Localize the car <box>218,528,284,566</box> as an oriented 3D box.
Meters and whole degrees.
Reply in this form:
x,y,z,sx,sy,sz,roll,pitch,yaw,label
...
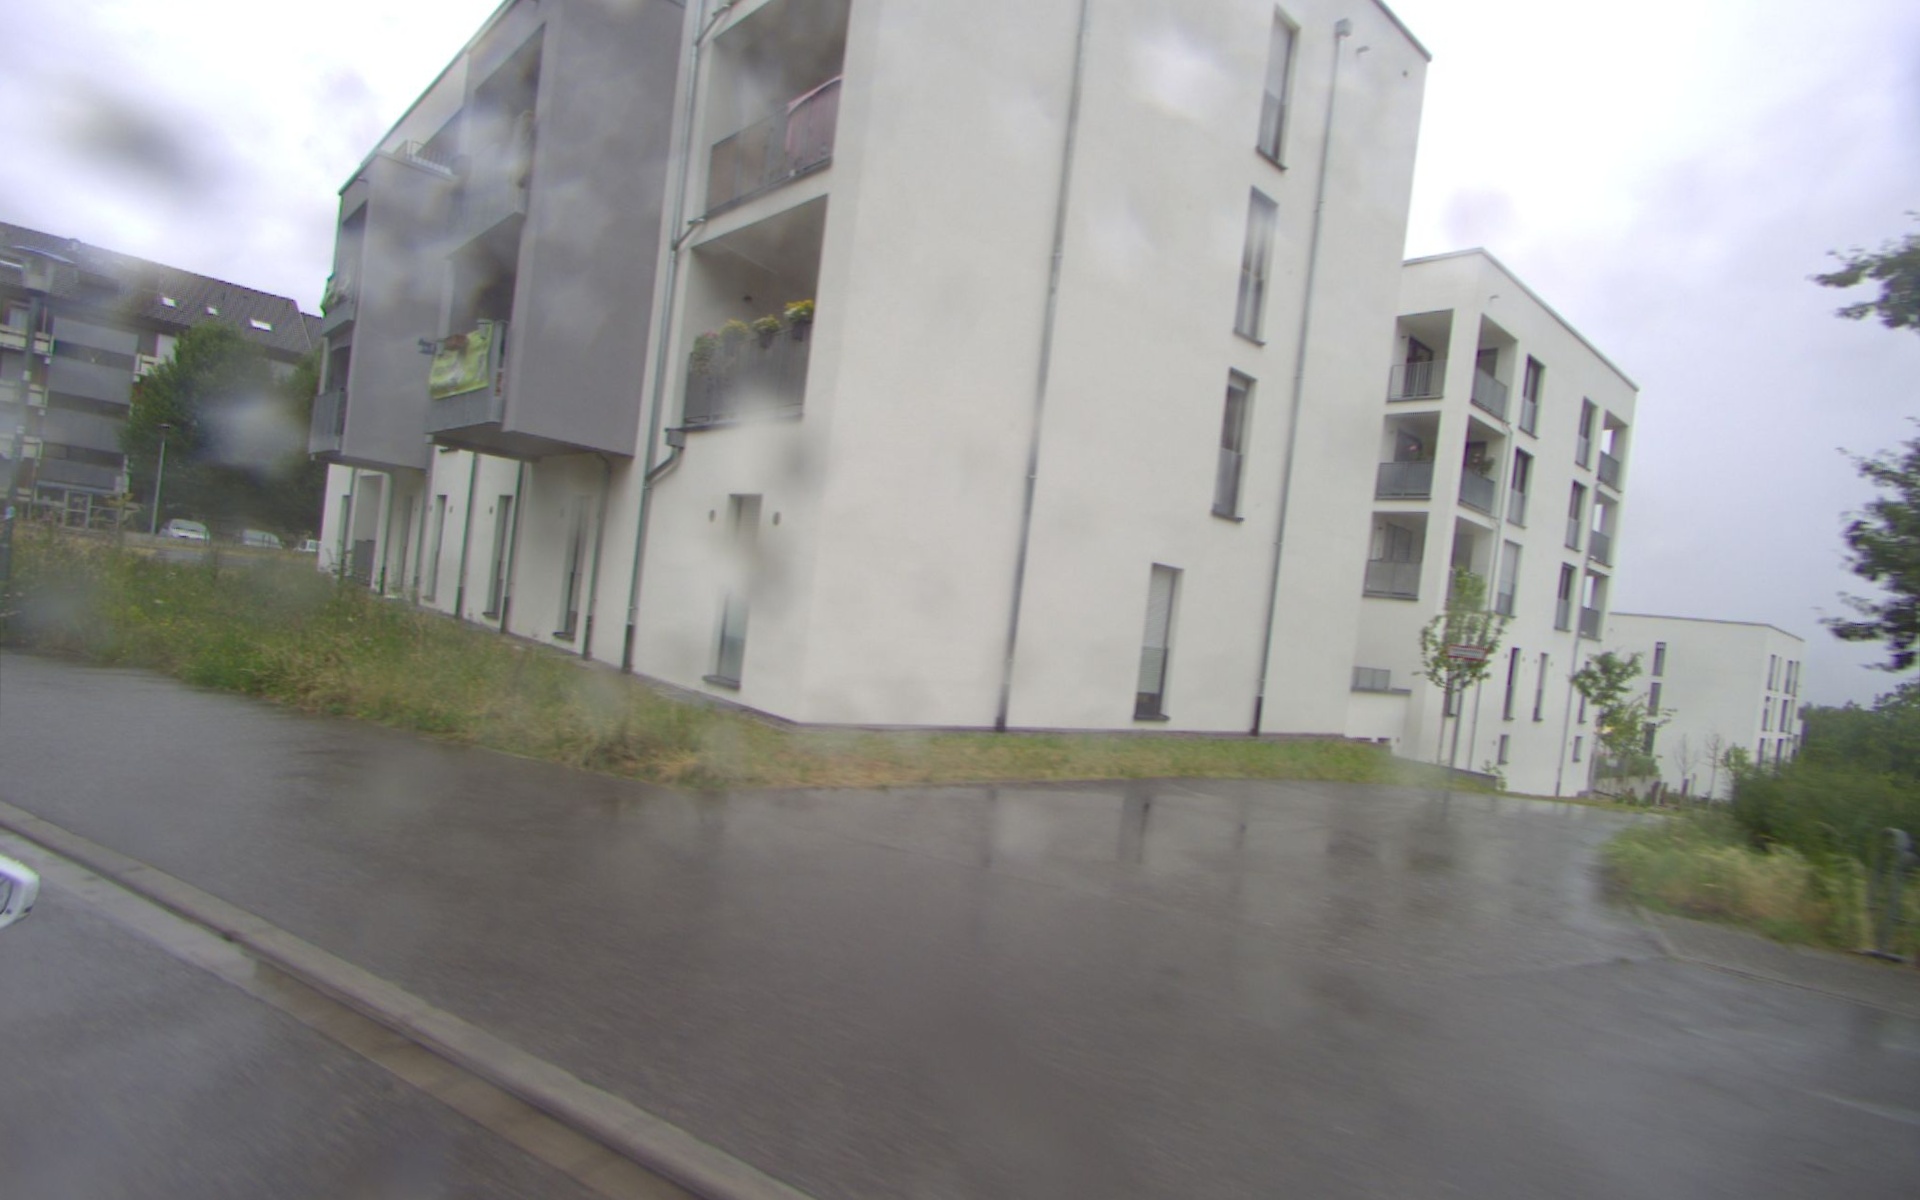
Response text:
x,y,z,sx,sy,sz,roll,pitch,yaw,label
-32.598,-2.432,46.226,3.659,1.457,1.713,3,-4,44,car

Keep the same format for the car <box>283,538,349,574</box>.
x,y,z,sx,sy,sz,roll,pitch,yaw,label
-30.907,-2.133,48.254,3.659,1.457,1.713,3,-4,44,car

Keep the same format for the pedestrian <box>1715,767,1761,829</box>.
x,y,z,sx,sy,sz,roll,pitch,yaw,label
25.584,6.492,33.077,0.882,1.805,0.885,9,1,45,pedestrian

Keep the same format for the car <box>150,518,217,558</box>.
x,y,z,sx,sy,sz,roll,pitch,yaw,label
-34.440,-2.742,44.604,3.659,1.457,1.713,3,-4,44,car
